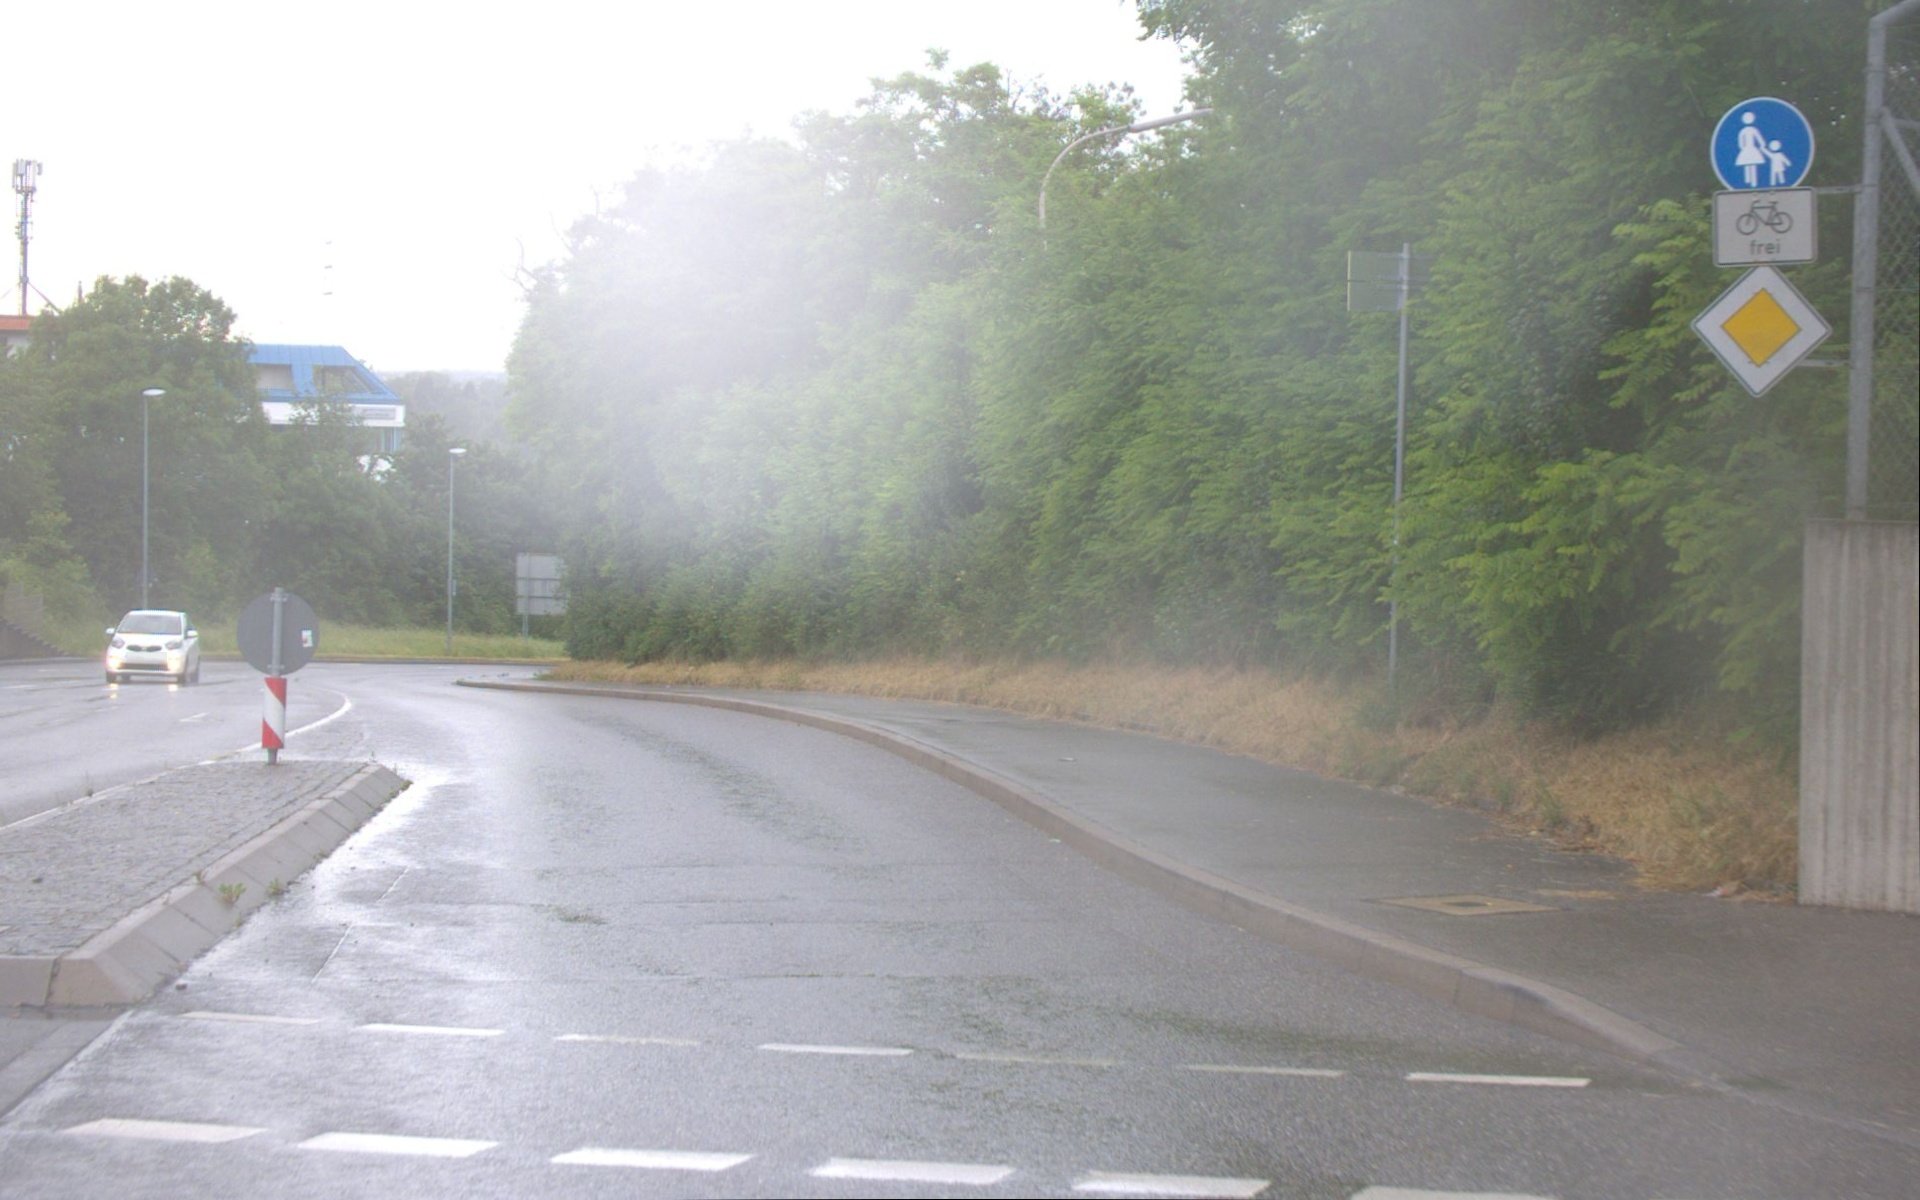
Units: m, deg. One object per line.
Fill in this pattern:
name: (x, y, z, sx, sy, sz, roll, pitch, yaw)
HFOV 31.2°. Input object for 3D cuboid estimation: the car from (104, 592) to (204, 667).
car: (-16.601, 0.585, 70.943, 1.652, 1.424, 3.794, 1, 1, -8)
